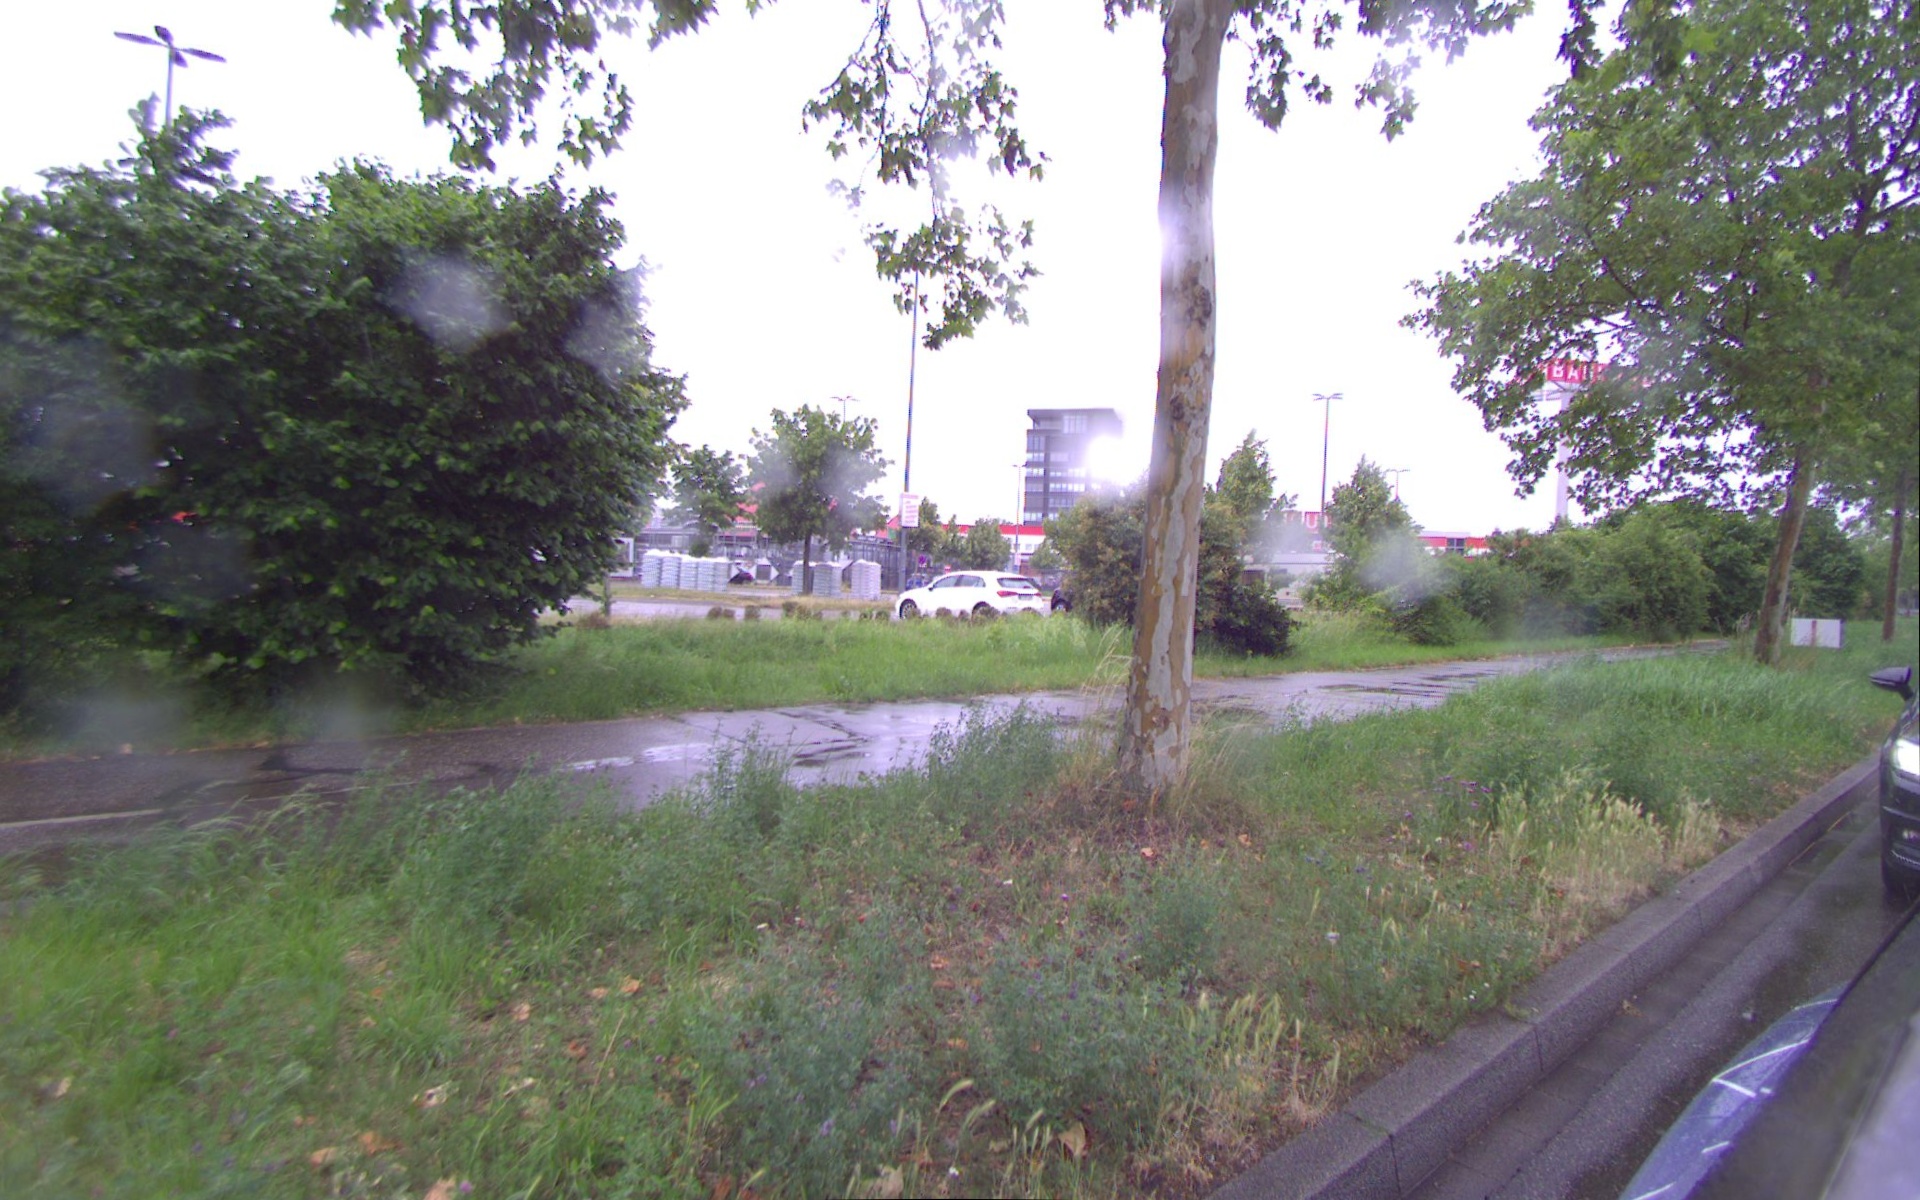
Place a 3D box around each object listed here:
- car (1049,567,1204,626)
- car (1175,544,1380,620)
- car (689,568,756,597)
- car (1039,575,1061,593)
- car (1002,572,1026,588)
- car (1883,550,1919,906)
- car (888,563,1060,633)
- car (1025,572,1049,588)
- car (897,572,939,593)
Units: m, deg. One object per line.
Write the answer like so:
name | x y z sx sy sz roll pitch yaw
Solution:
car | 4.927 -0.147 30.289 1.899 1.571 4.262 0 2 -45
car | 10.952 -0.698 35.278 6.399 2.392 2.357 3 2 41
car | -14.900 -1.090 63.524 3.723 1.739 1.685 0 0 13
car | 8.895 -1.576 100.076 1.966 1.697 4.270 2 2 4
car | 6.004 -2.265 112.494 1.973 1.697 4.257 2 2 13
car | 6.556 0.581 5.609 4.548 1.625 1.768 0 0 -43
car | 0.286 -0.106 25.934 1.899 1.571 4.262 0 2 -45
car | 8.499 -2.273 111.893 1.973 1.697 4.257 2 2 13
car | -3.245 -1.394 79.207 1.905 1.571 4.249 2 2 18
